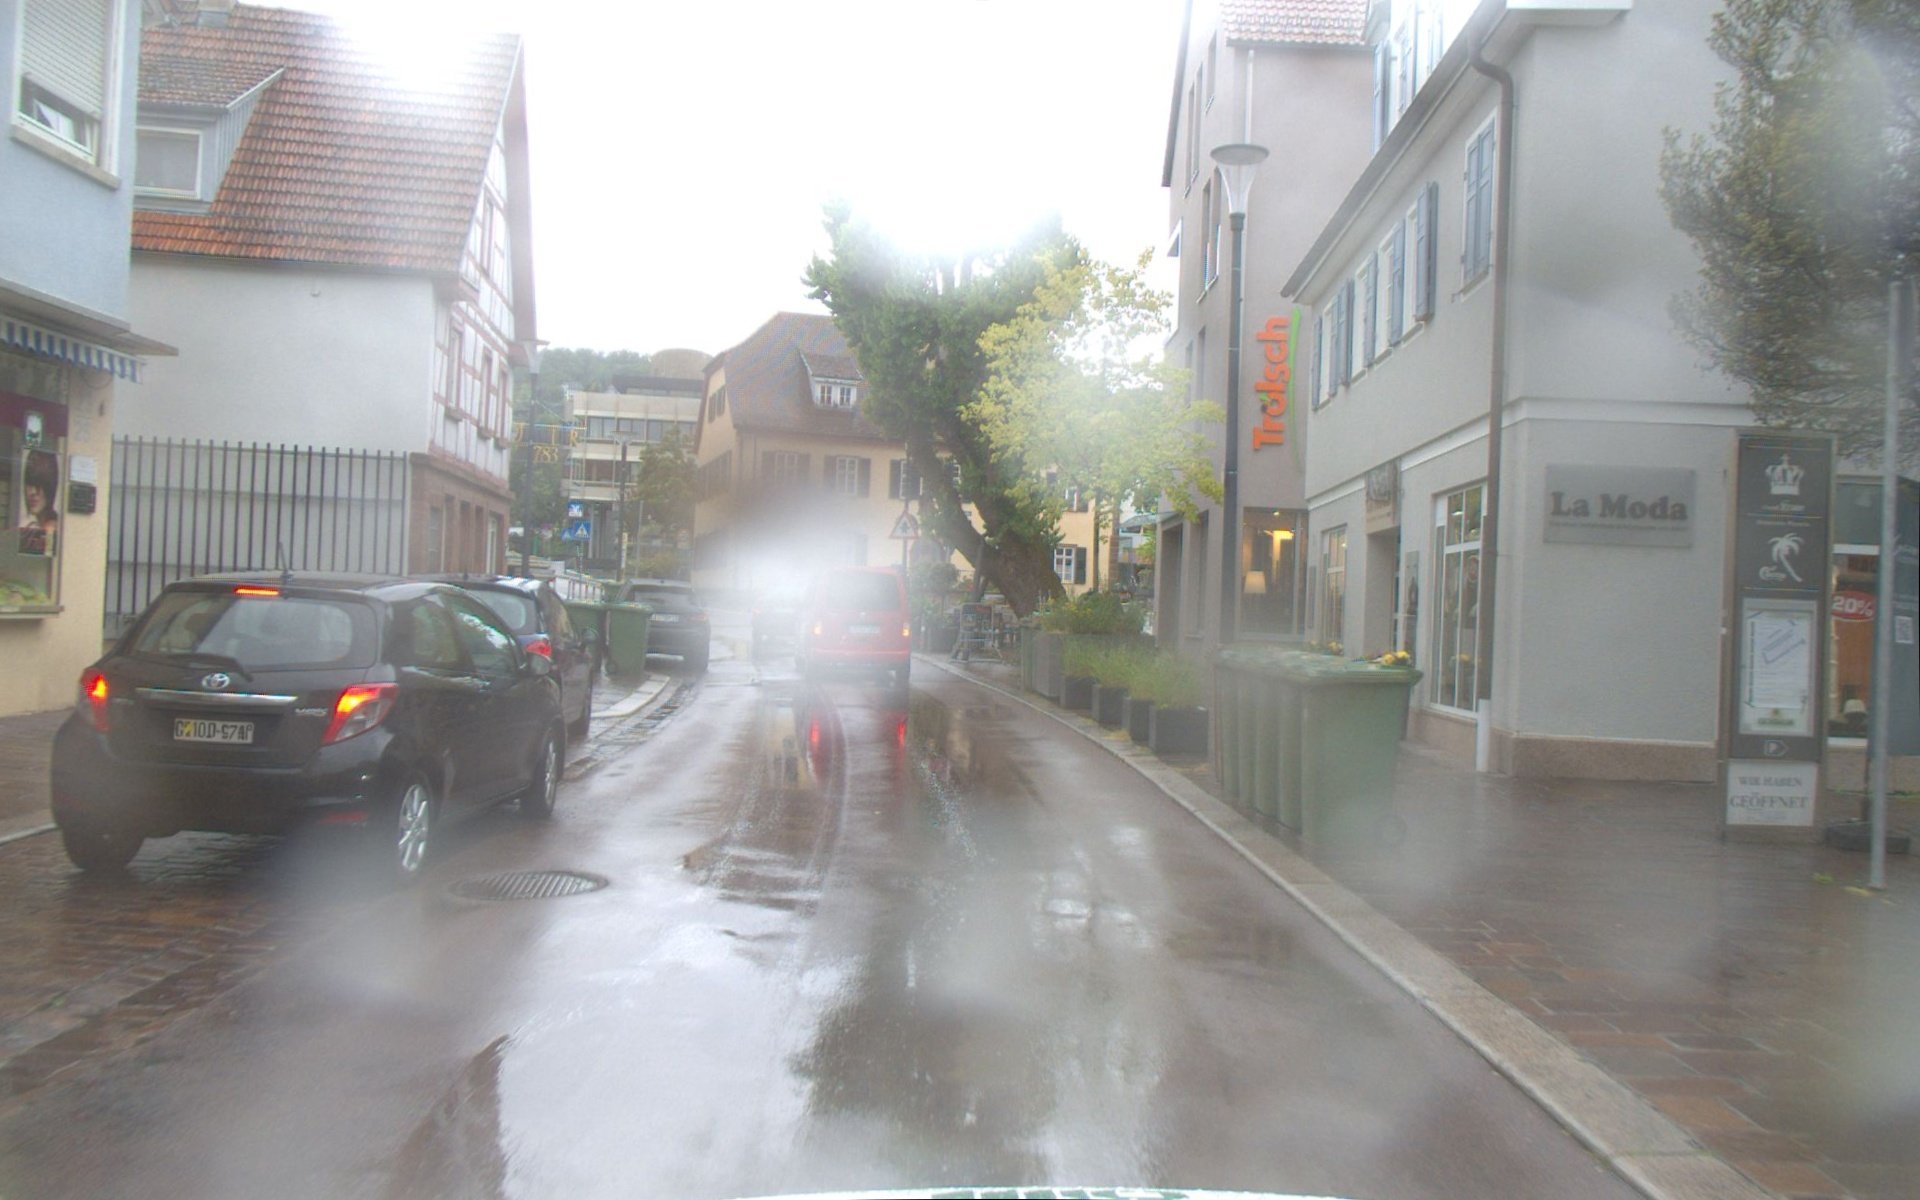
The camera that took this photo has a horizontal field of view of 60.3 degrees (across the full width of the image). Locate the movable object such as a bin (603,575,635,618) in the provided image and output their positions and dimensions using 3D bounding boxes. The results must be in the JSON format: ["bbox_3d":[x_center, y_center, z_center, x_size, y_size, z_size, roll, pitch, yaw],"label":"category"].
[{"bbox_3d":[-9.381,-0.081,45.510,0.780,1.125,0.720,3,-1,-11],"label":"movable object such as a bin"}]

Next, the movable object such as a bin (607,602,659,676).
[{"bbox_3d":[-5.176,0.614,26.213,0.712,1.129,0.643,3,-1,-9],"label":"movable object such as a bin"}]

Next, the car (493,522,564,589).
[{"bbox_3d":[-19.215,-1.910,73.417,2.266,2.647,6.917,4,-1,-20],"label":"car"}]

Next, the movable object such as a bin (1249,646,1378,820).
[{"bbox_3d":[2.396,0.890,11.254,0.714,1.110,0.521,3,-1,0],"label":"movable object such as a bin"}]

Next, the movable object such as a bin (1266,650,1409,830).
[{"bbox_3d":[2.424,0.888,10.675,0.739,1.082,0.600,3,-1,0],"label":"movable object such as a bin"}]

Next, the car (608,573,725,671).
[{"bbox_3d":[-5.335,0.343,29.753,1.757,1.521,3.986,3,1,-14],"label":"car"}]

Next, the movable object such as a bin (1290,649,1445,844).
[{"bbox_3d":[2.461,0.871,10.040,0.752,1.098,0.599,3,-1,0],"label":"movable object such as a bin"}]

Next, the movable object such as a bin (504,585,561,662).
[{"bbox_3d":[-6.542,0.364,25.338,0.712,1.129,0.595,3,-1,-9],"label":"movable object such as a bin"}]

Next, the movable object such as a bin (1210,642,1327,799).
[{"bbox_3d":[2.315,0.890,12.455,0.720,1.117,0.611,3,-1,-1],"label":"movable object such as a bin"}]

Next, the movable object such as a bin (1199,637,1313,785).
[{"bbox_3d":[2.324,0.864,13.049,0.738,1.109,0.656,1,0,-4],"label":"movable object such as a bin"}]

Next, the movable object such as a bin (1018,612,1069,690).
[{"bbox_3d":[1.248,0.762,24.883,0.620,1.123,0.578,3,-1,-8],"label":"movable object such as a bin"}]

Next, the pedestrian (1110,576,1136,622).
[{"bbox_3d":[6.796,-0.032,68.847,0.880,1.874,0.766,3,-1,-2],"label":"pedestrian"}]

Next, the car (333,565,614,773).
[{"bbox_3d":[-4.146,0.500,14.680,1.723,1.499,3.938,3,1,-8],"label":"car"}]

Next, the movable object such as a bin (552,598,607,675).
[{"bbox_3d":[-5.842,0.562,25.396,0.712,1.129,0.595,3,-1,-9],"label":"movable object such as a bin"}]

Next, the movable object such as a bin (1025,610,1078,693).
[{"bbox_3d":[1.341,0.757,24.305,0.620,1.170,0.578,3,-1,-8],"label":"movable object such as a bin"}]

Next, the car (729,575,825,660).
[{"bbox_3d":[-4.415,0.420,39.430,1.957,1.831,3.990,3,-1,-10],"label":"car"}]

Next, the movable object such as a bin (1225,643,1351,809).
[{"bbox_3d":[2.339,0.889,11.836,0.721,1.117,0.611,3,-1,-2],"label":"movable object such as a bin"}]

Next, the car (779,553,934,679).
[{"bbox_3d":[-1.837,0.210,28.084,1.862,1.842,3.987,4,1,-14],"label":"car"}]

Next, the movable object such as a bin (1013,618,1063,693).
[{"bbox_3d":[1.221,0.861,25.926,0.664,1.122,0.579,3,-1,-5],"label":"movable object such as a bin"}]

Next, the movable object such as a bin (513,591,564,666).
[{"bbox_3d":[-6.609,0.444,25.957,0.647,1.129,0.614,3,-1,-8],"label":"movable object such as a bin"}]

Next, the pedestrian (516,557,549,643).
[{"bbox_3d":[-8.806,-0.001,34.094,0.508,1.741,0.577,3,-1,-8],"label":"pedestrian"}]

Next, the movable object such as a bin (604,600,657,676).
[{"bbox_3d":[-5.089,0.581,25.580,0.712,1.129,0.595,3,-1,-9],"label":"movable object such as a bin"}]

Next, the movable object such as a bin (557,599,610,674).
[{"bbox_3d":[-5.920,0.578,26.021,0.712,1.129,0.595,3,-1,-9],"label":"movable object such as a bin"}]

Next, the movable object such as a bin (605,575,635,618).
[{"bbox_3d":[-9.215,-0.085,44.830,0.701,1.125,0.598,3,-1,-11],"label":"movable object such as a bin"}]

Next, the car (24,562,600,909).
[{"bbox_3d":[-3.333,0.575,9.371,1.657,1.468,3.885,3,1,0],"label":"car"}]
